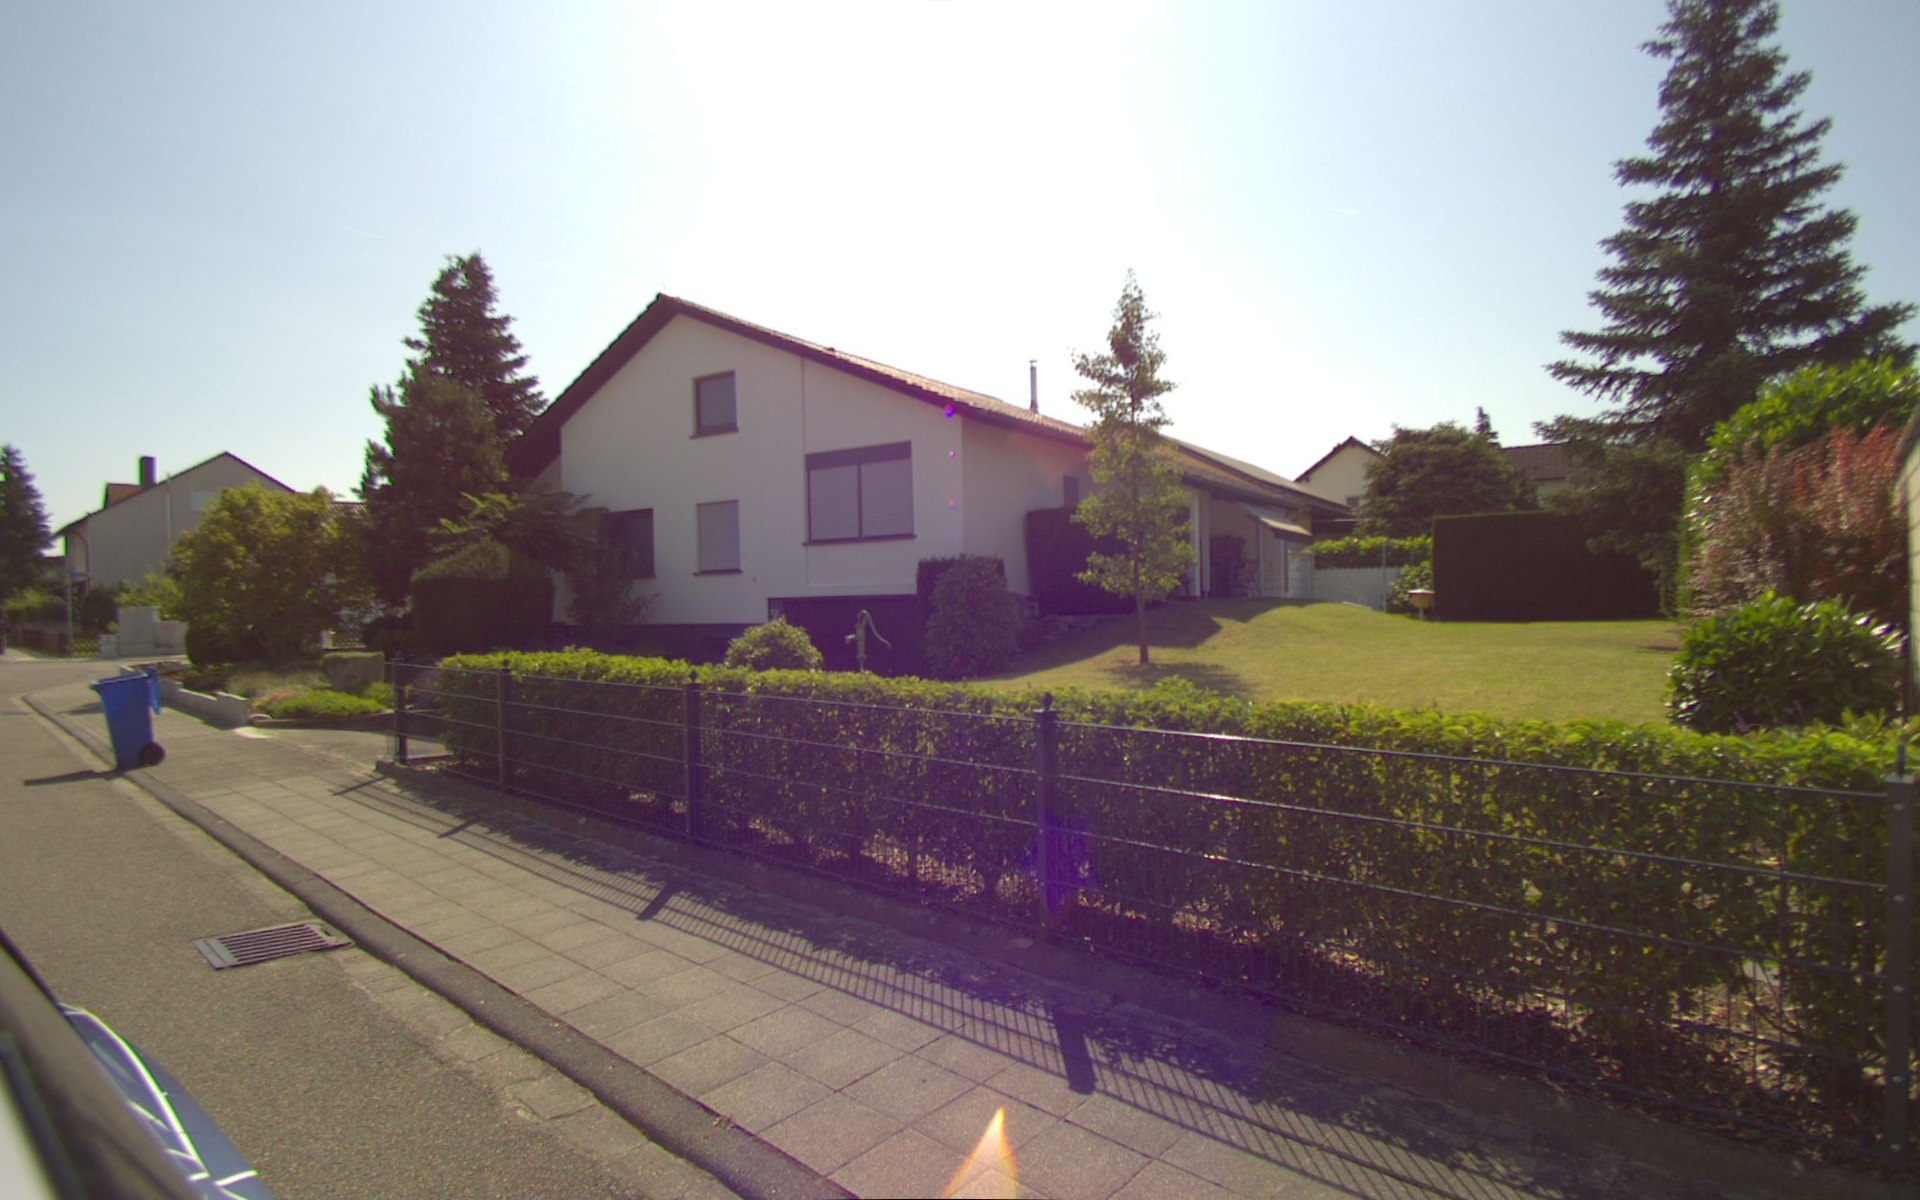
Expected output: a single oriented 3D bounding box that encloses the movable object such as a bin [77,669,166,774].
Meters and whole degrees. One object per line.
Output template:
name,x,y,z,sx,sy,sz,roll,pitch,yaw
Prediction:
movable object such as a bin,-8.192,1.165,9.884,0.598,0.923,0.576,-1,0,42
